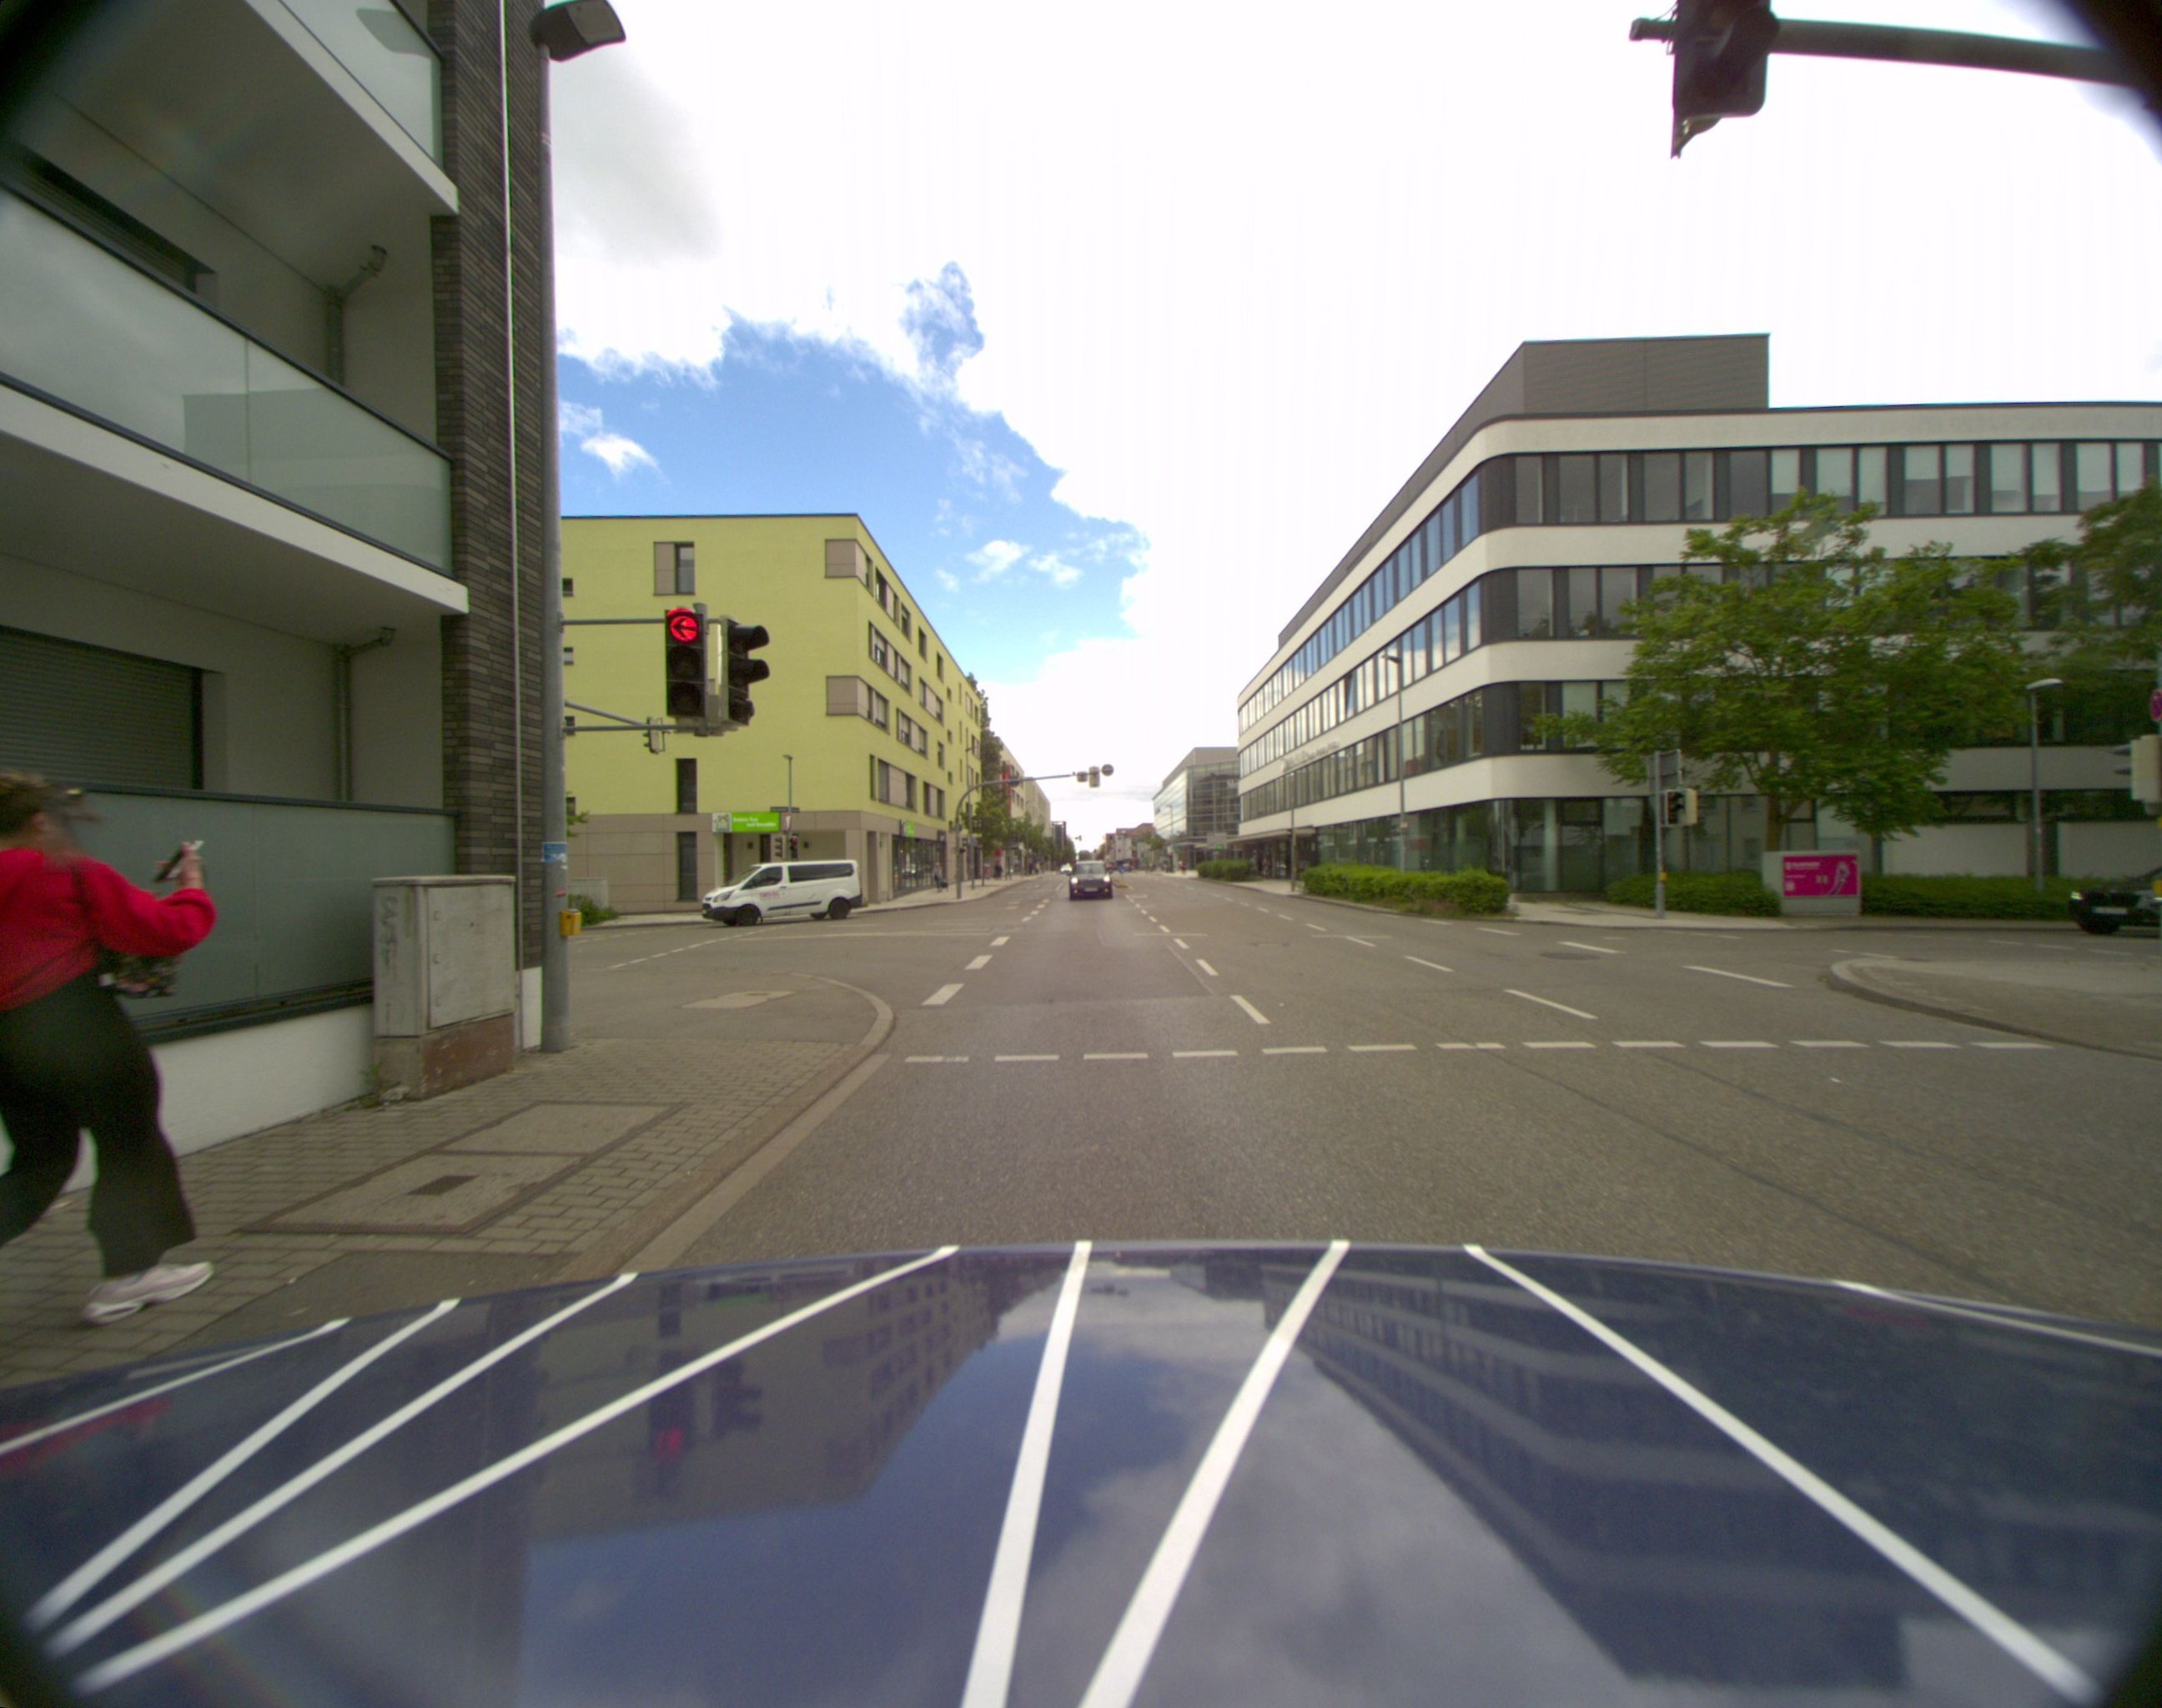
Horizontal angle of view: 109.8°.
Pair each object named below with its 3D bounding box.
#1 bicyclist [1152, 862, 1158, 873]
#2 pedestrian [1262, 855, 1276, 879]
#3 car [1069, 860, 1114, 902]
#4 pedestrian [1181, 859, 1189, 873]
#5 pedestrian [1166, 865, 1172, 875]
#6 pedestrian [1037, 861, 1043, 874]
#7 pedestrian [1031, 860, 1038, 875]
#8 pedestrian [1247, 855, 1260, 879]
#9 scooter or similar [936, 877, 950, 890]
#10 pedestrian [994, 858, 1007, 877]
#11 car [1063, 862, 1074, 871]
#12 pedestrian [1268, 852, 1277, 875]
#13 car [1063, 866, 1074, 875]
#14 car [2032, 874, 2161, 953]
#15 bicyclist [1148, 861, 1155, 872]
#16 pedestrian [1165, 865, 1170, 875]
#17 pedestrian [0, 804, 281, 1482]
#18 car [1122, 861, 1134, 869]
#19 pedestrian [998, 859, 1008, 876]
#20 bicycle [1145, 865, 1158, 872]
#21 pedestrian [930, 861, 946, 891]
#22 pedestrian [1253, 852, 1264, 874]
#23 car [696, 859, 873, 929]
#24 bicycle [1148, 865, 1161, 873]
[{"bbox_3d":[11.822,2.177,121.547,0.783,1.639,0.639,-2,0,16],"label":"bicyclist"},{"bbox_3d":[13.355,0.921,53.920,0.732,1.603,0.931,-1,0,2],"label":"pedestrian"},{"bbox_3d":[0.480,1.042,31.450,1.691,1.550,4.746,-1,0,2],"label":"car"},{"bbox_3d":[11.753,1.360,86.085,0.832,1.558,0.813,-1,0,6],"label":"pedestrian"},{"bbox_3d":[11.705,2.105,101.174,0.686,1.312,0.576,2,0,-1],"label":"pedestrian"},{"bbox_3d":[-5.078,1.668,93.591,0.580,1.581,0.733,1,0,6],"label":"pedestrian"},{"bbox_3d":[-5.466,1.575,89.586,0.722,1.673,0.733,1,0,6],"label":"pedestrian"},{"bbox_3d":[12.412,0.945,54.675,0.732,1.664,0.931,-1,0,2],"label":"pedestrian"},{"bbox_3d":[-7.571,1.612,41.711,0.593,0.669,0.824,1,0,0],"label":"scooter or similar"},{"bbox_3d":[-6.812,1.154,64.281,0.949,1.574,1.016,0,0,0],"label":"pedestrian"},{"bbox_3d":[-2.147,2.134,131.397,1.787,1.417,4.515,-1,-1,0],"label":"car"},{"bbox_3d":[14.712,0.739,58.357,0.505,1.719,0.616,0,0,32],"label":"pedestrian"},{"bbox_3d":[-2.225,3.016,137.051,1.741,1.532,4.791,-2,-1,0],"label":"car"},{"bbox_3d":[22.728,1.241,15.498,3.995,1.523,1.914,2,-2,6],"label":"car"},{"bbox_3d":[11.527,2.086,124.262,0.772,1.789,0.749,-3,-1,45],"label":"bicyclist"},{"bbox_3d":[11.657,2.168,102.444,0.686,1.246,0.576,1,0,-1],"label":"pedestrian"},{"bbox_3d":[-3.196,0.746,2.175,0.809,1.776,0.861,3,0,1],"label":"pedestrian"},{"bbox_3d":[9.037,2.141,146.420,1.901,1.407,4.471,-2,-1,1],"label":"car"},{"bbox_3d":[-7.220,1.251,70.469,0.871,1.574,0.804,0,0,0],"label":"pedestrian"},{"bbox_3d":[11.533,2.383,124.254,2.025,1.198,0.749,-3,-1,45],"label":"bicycle"},{"bbox_3d":[-7.716,1.181,40.991,0.697,1.584,0.603,1,0,0],"label":"pedestrian"},{"bbox_3d":[13.757,0.727,58.888,0.616,1.699,0.505,0,0,-30],"label":"pedestrian"},{"bbox_3d":[-9.639,1.243,24.961,5.010,1.975,1.996,-1,-1,-40],"label":"car"},{"bbox_3d":[11.800,2.439,121.555,2.002,1.123,0.639,-3,0,16],"label":"bicycle"}]
